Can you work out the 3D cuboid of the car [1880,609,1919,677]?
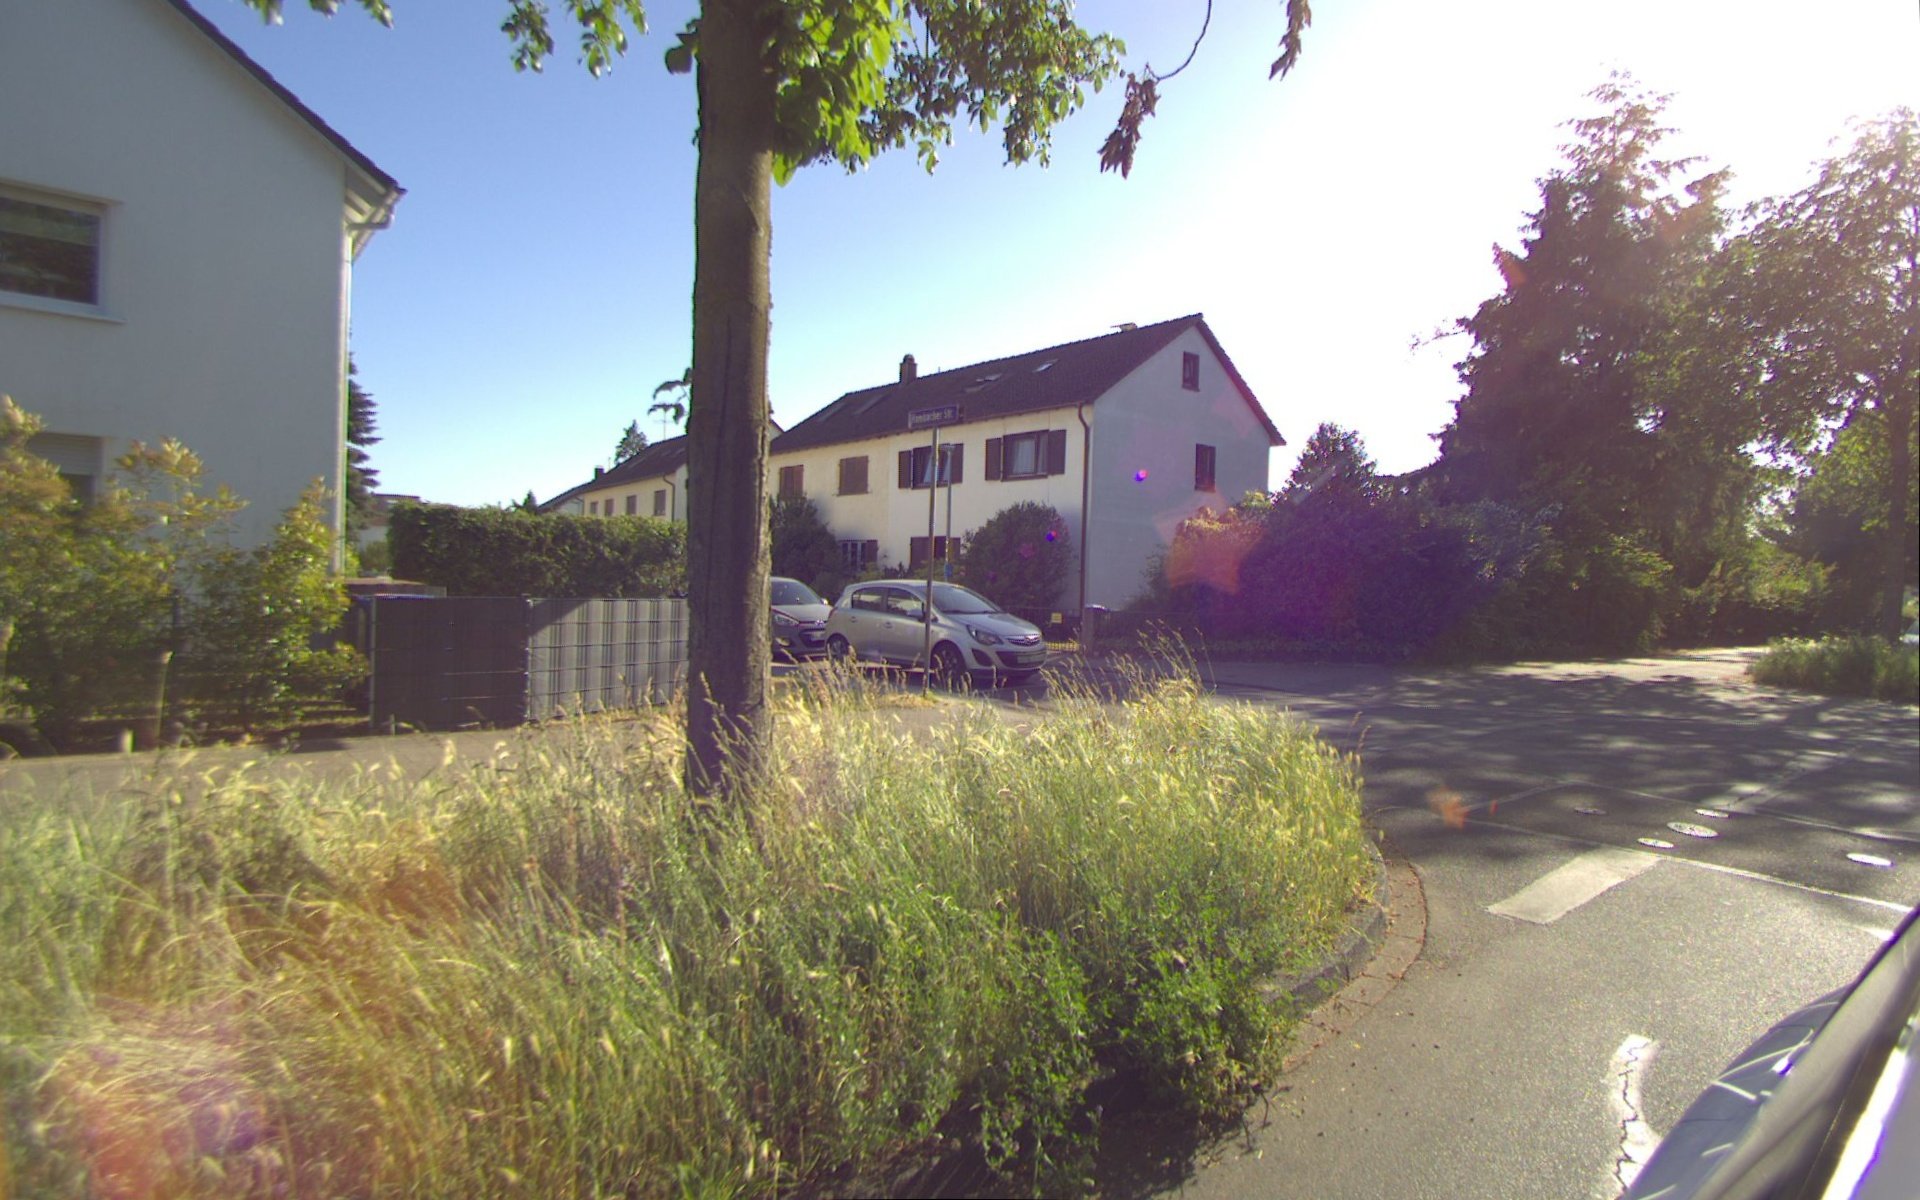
[{"bbox_3d":[24.118,1.034,24.344,3.923,1.528,2.002,0,3,-33],"label":"car"}]

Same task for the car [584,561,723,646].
[{"bbox_3d":[-6.828,0.033,22.326,1.397,1.338,3.833,4,5,-41],"label":"car"}]

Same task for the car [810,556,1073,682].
[{"bbox_3d":[-0.391,0.200,15.609,3.988,1.660,1.748,3,1,44],"label":"car"}]

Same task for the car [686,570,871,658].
[{"bbox_3d":[-3.541,0.207,19.340,1.817,1.462,3.755,1,1,-41],"label":"car"}]
